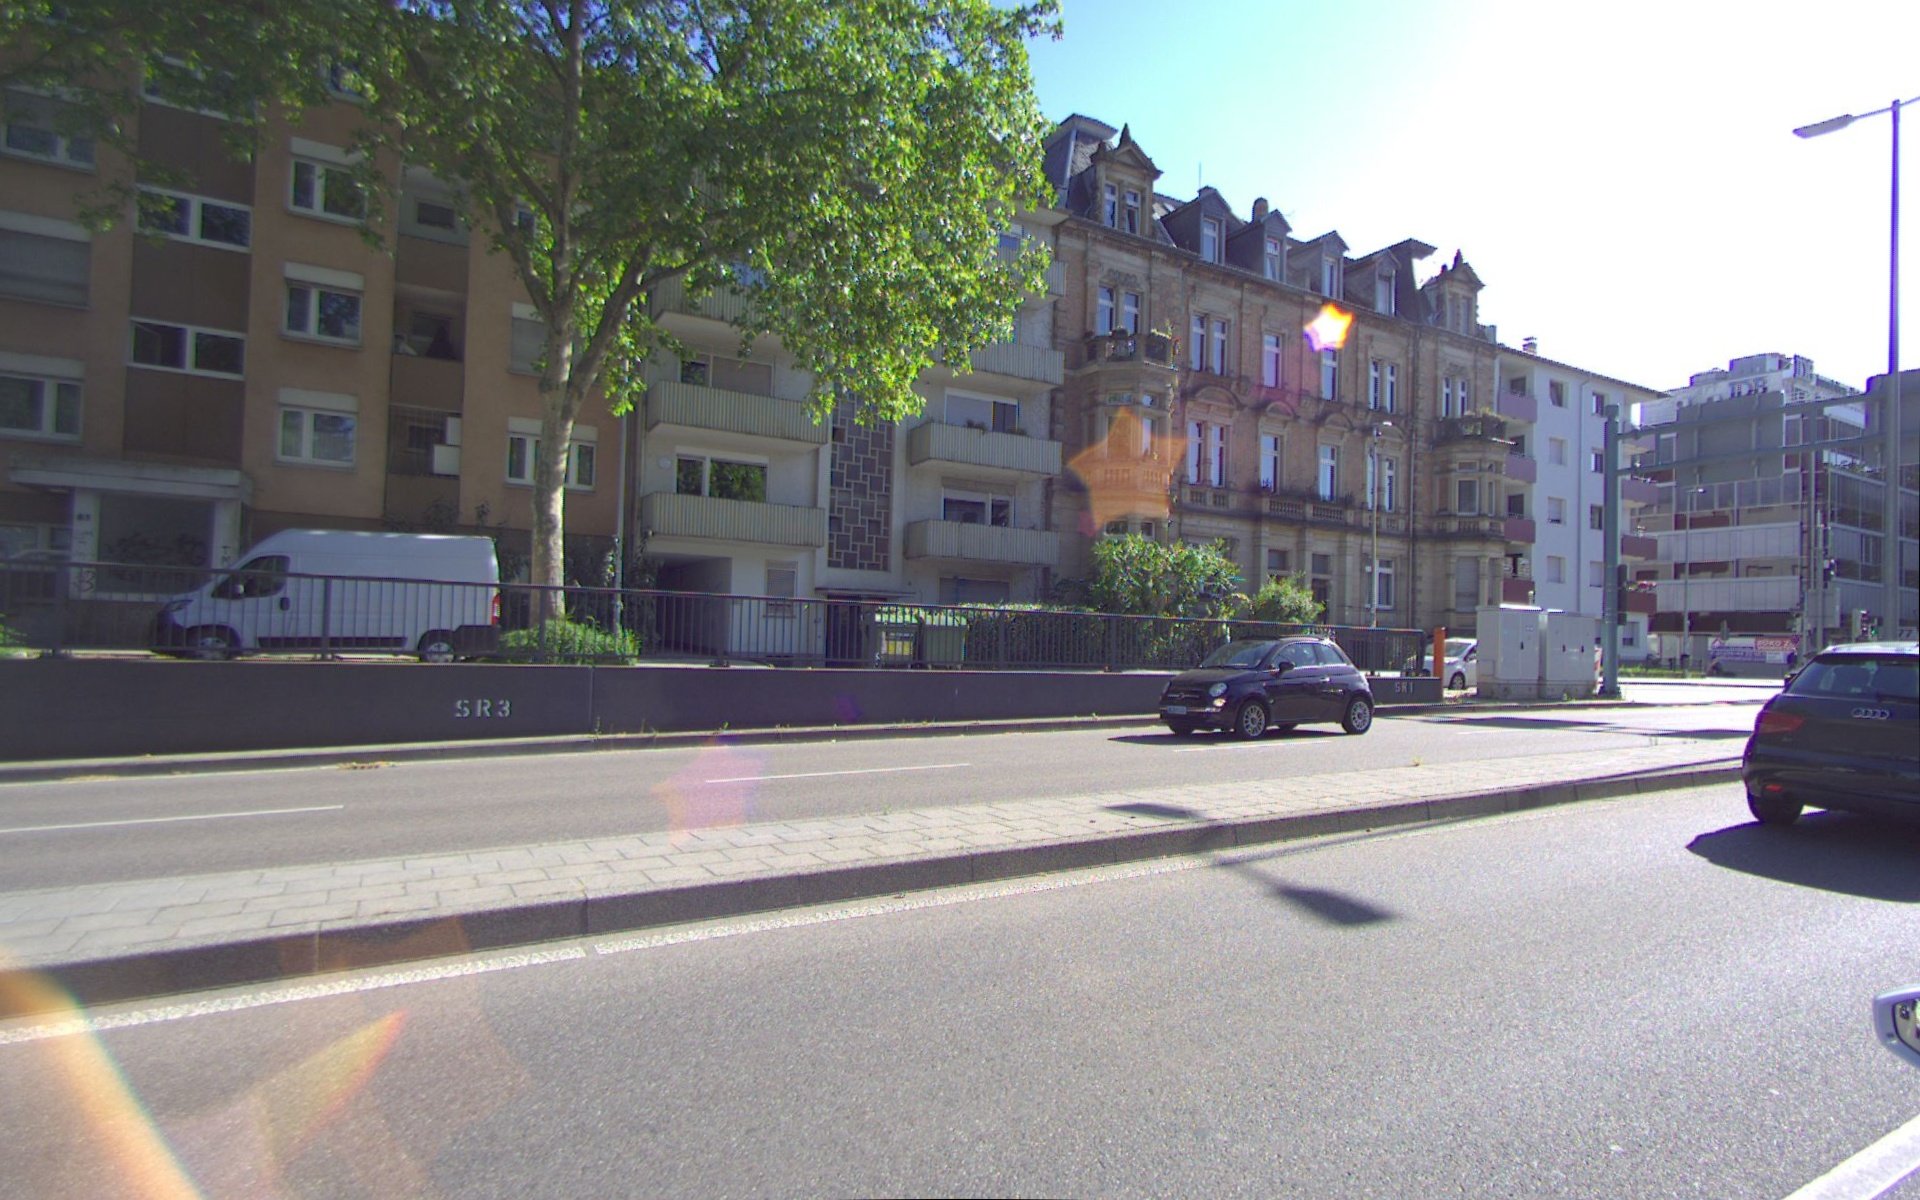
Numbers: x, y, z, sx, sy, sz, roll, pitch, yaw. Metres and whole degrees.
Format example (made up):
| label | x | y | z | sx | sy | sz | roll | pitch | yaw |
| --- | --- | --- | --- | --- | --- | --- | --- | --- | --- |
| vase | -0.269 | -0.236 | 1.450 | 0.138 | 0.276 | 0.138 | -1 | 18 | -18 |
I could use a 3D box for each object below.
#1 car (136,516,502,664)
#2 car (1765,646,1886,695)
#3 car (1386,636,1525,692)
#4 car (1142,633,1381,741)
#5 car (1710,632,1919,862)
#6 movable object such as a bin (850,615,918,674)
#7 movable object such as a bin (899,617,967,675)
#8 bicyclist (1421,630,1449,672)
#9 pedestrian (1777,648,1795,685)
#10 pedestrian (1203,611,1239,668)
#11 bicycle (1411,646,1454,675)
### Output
| label | x | y | z | sx | sy | sz | roll | pitch | yaw |
| --- | --- | --- | --- | --- | --- | --- | --- | --- | --- |
| car | -11.458 | -0.084 | 18.462 | 5.354 | 2.391 | 1.984 | 2 | 0 | -30 |
| car | 31.360 | 2.535 | 36.396 | 3.871 | 1.575 | 1.930 | 2 | 0 | -26 |
| car | 13.844 | 1.786 | 28.056 | 3.569 | 1.428 | 1.670 | 2 | -1 | -27 |
| car | 4.606 | 1.289 | 15.294 | 3.456 | 1.464 | 1.584 | 2 | -4 | -31 |
| car | 7.686 | 1.029 | 7.767 | 3.844 | 1.437 | 1.687 | 2 | 0 | -31 |
| movable object such as a bin | -1.940 | 1.138 | 25.602 | 1.286 | 1.421 | 1.273 | 2 | 0 | -30 |
| movable object such as a bin | -0.707 | 1.186 | 26.167 | 1.309 | 1.421 | 1.273 | 2 | 0 | -30 |
| bicyclist | 19.569 | 2.090 | 41.402 | 0.939 | 1.681 | 0.584 | 2 | 0 | -30 |
| pedestrian | 44.987 | 3.616 | 54.714 | 0.718 | 1.921 | 0.652 | 2 | 0 | -43 |
| pedestrian | 8.039 | 1.215 | 30.910 | 0.824 | 1.729 | 0.633 | 2 | 0 | -30 |
| bicycle | 19.451 | 2.498 | 41.340 | 1.951 | 1.119 | 0.584 | 2 | 0 | -31 |
